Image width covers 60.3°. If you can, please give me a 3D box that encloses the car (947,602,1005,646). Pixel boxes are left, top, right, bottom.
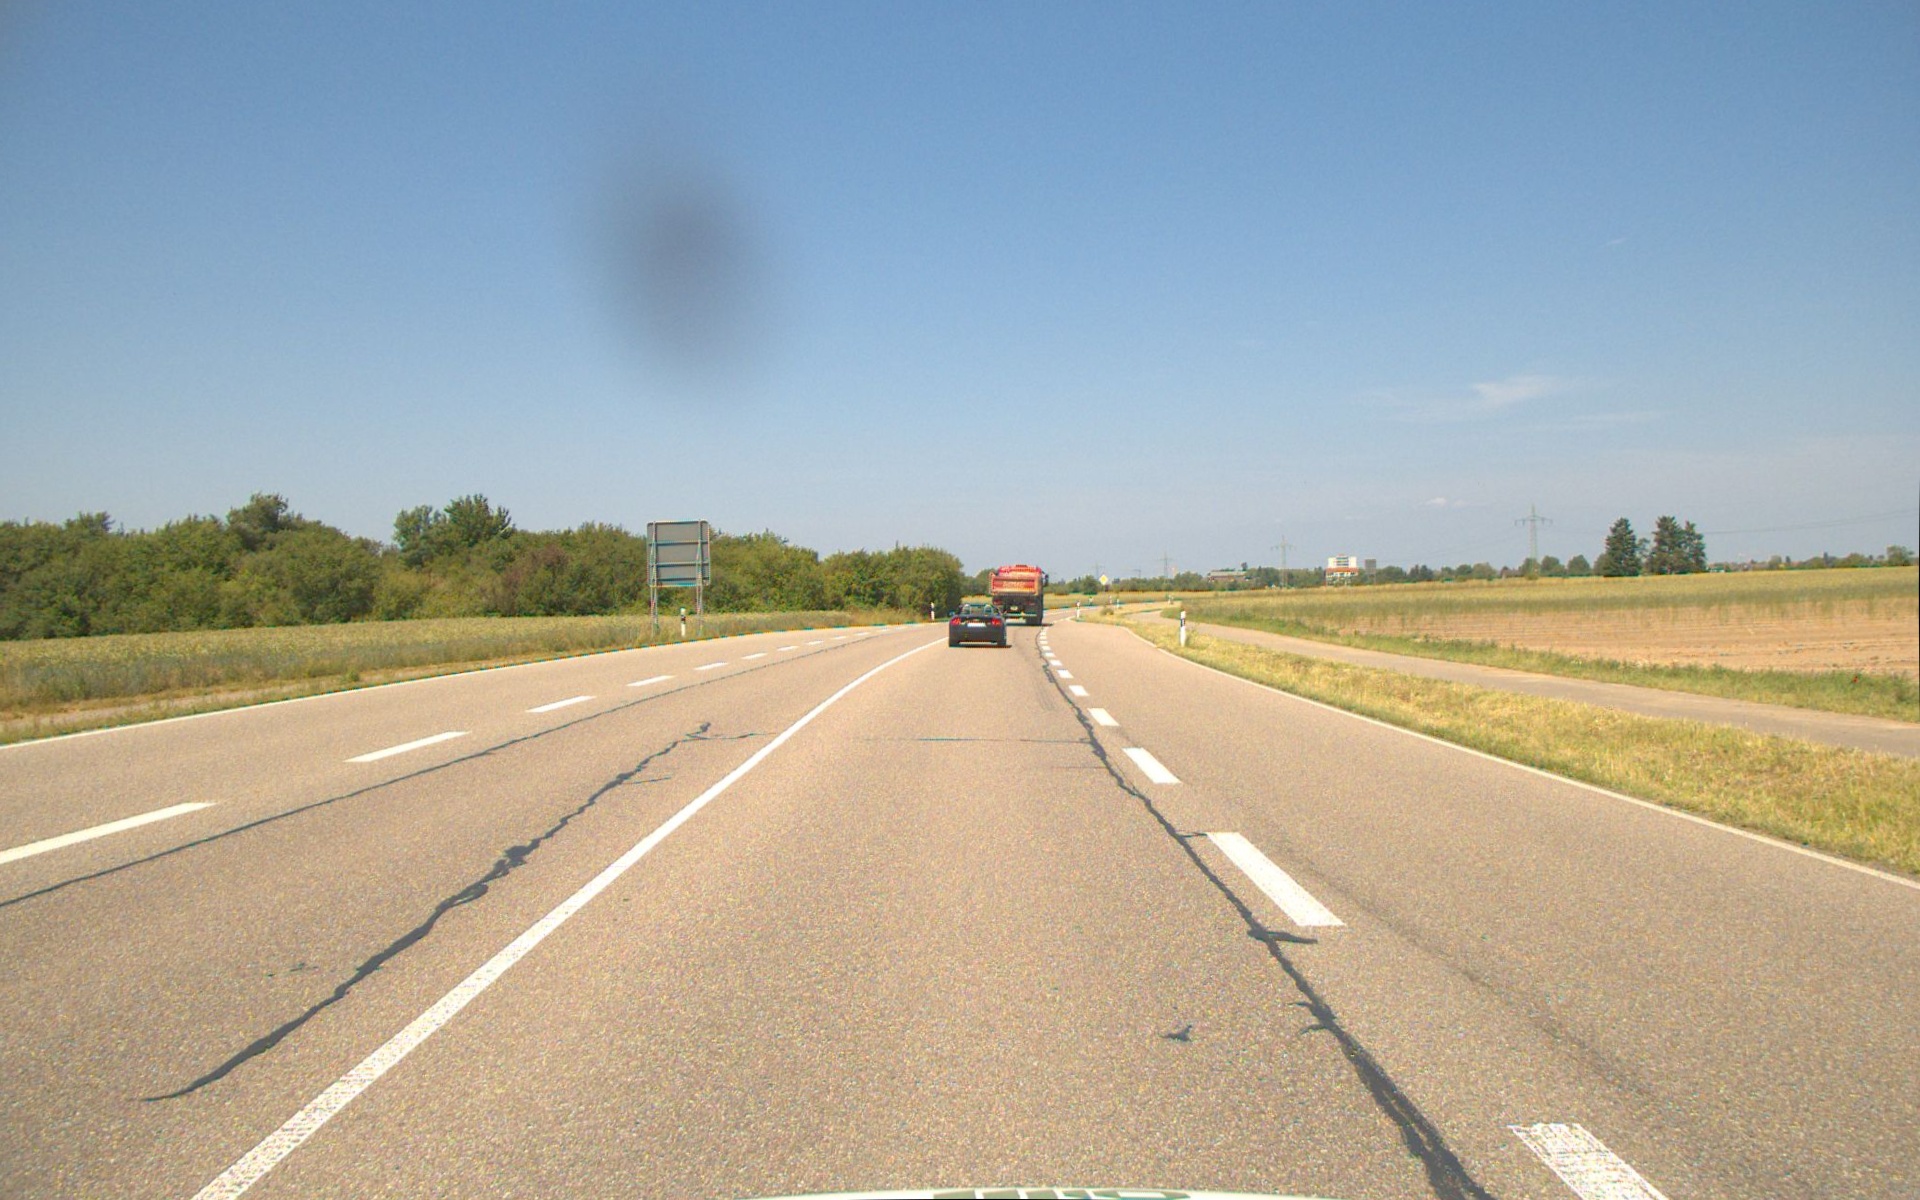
[{"bbox_3d":[0.468,0.726,51.145,1.708,1.302,3.999,0,0,-1],"label":"car"}]

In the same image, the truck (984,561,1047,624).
[{"bbox_3d":[2.999,-0.386,86.855,2.876,3.143,7.200,0,0,5],"label":"truck"}]
